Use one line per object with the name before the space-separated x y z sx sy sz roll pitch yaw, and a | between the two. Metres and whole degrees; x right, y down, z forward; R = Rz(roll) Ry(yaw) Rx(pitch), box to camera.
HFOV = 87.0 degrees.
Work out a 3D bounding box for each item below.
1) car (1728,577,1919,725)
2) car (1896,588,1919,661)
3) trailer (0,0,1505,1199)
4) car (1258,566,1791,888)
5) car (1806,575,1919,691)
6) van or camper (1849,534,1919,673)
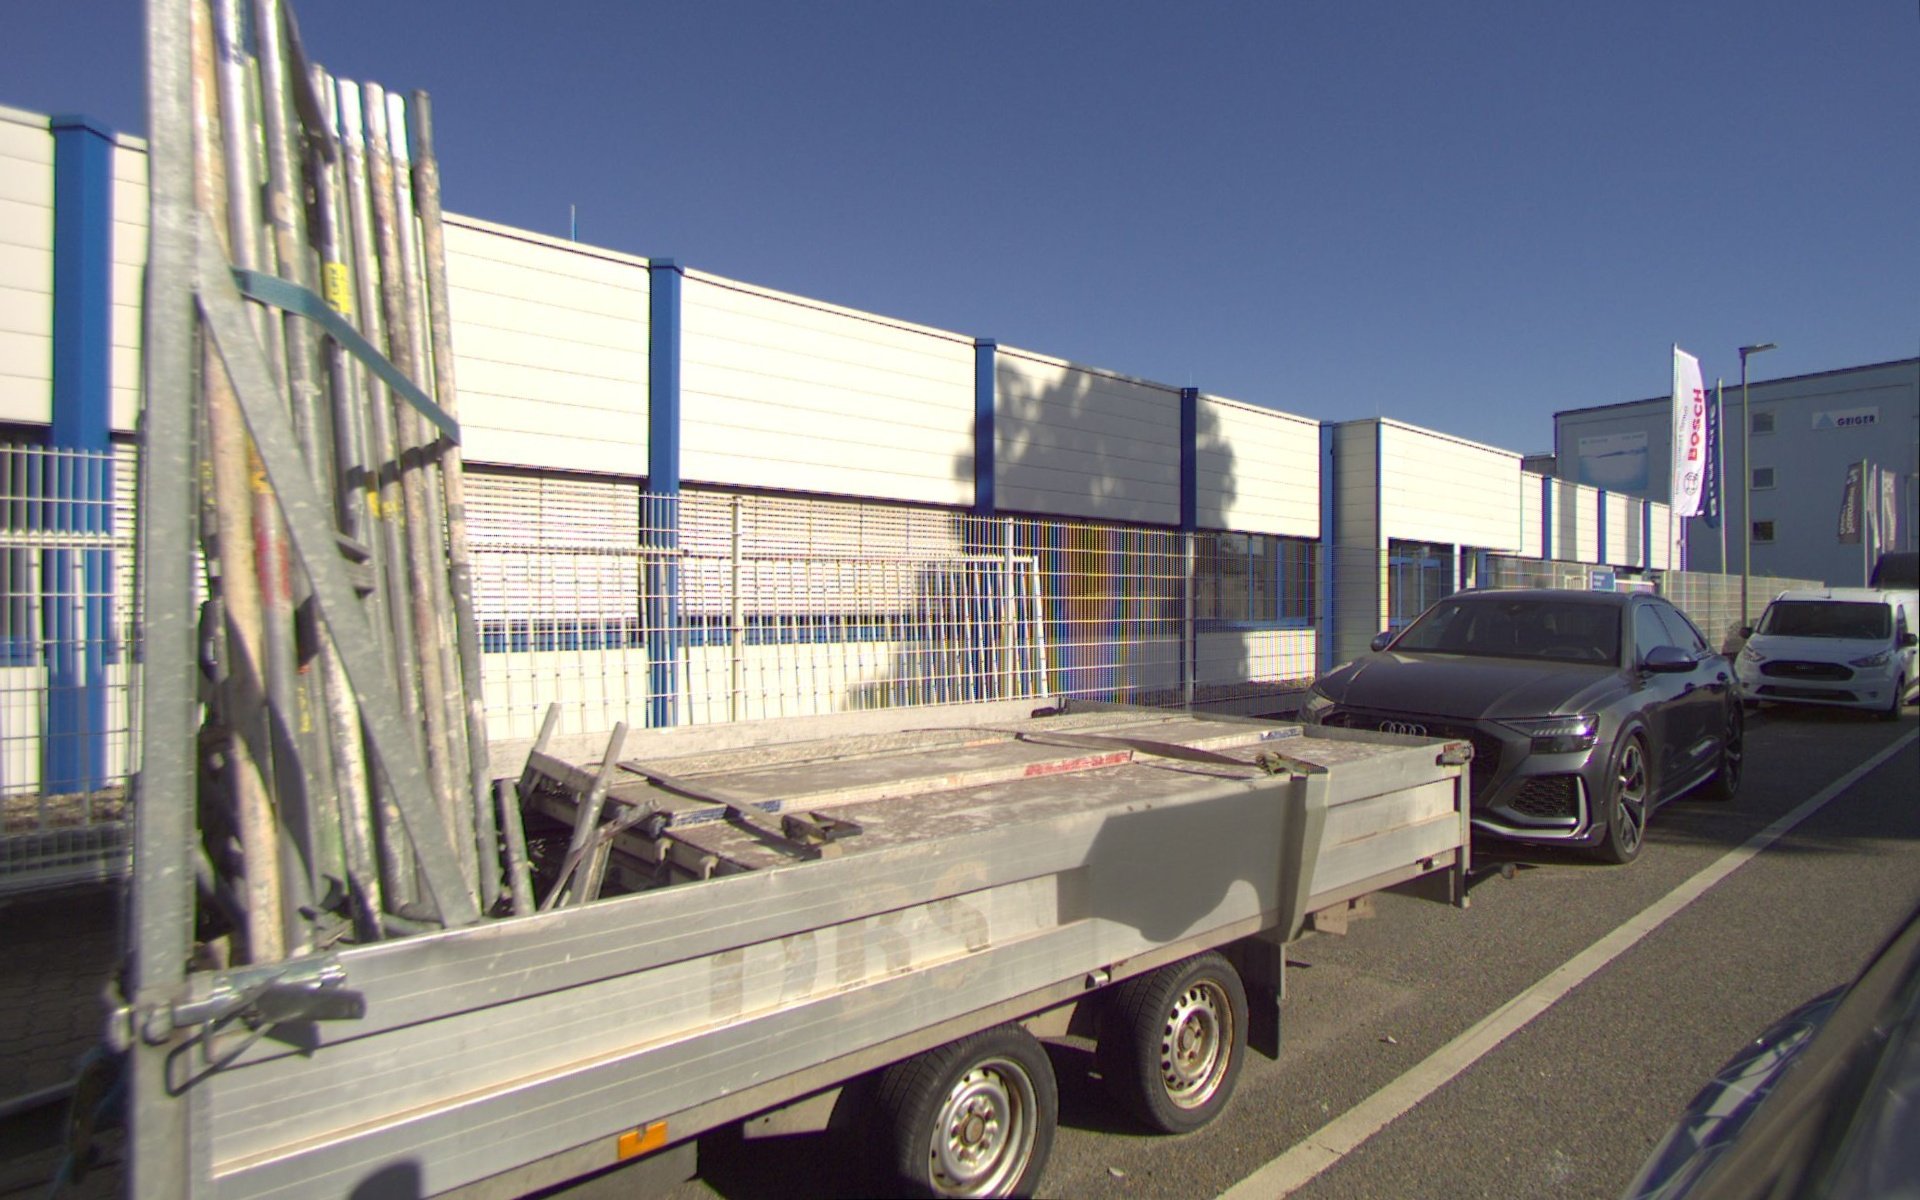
car | 13.248 0.635 15.046 5.077 1.854 1.858 0 -1 -41
car | 26.234 0.595 26.587 5.016 1.820 1.888 0 -1 -42
trailer | -0.779 0.163 3.057 5.601 2.706 2.464 0 0 -41
car | 4.440 0.671 7.608 4.648 1.689 1.997 0 -1 -41
car | 17.155 0.527 18.403 5.014 1.870 1.889 0 -1 -41
van or camper | 21.591 0.048 22.281 6.053 2.795 2.144 0 -1 -41
